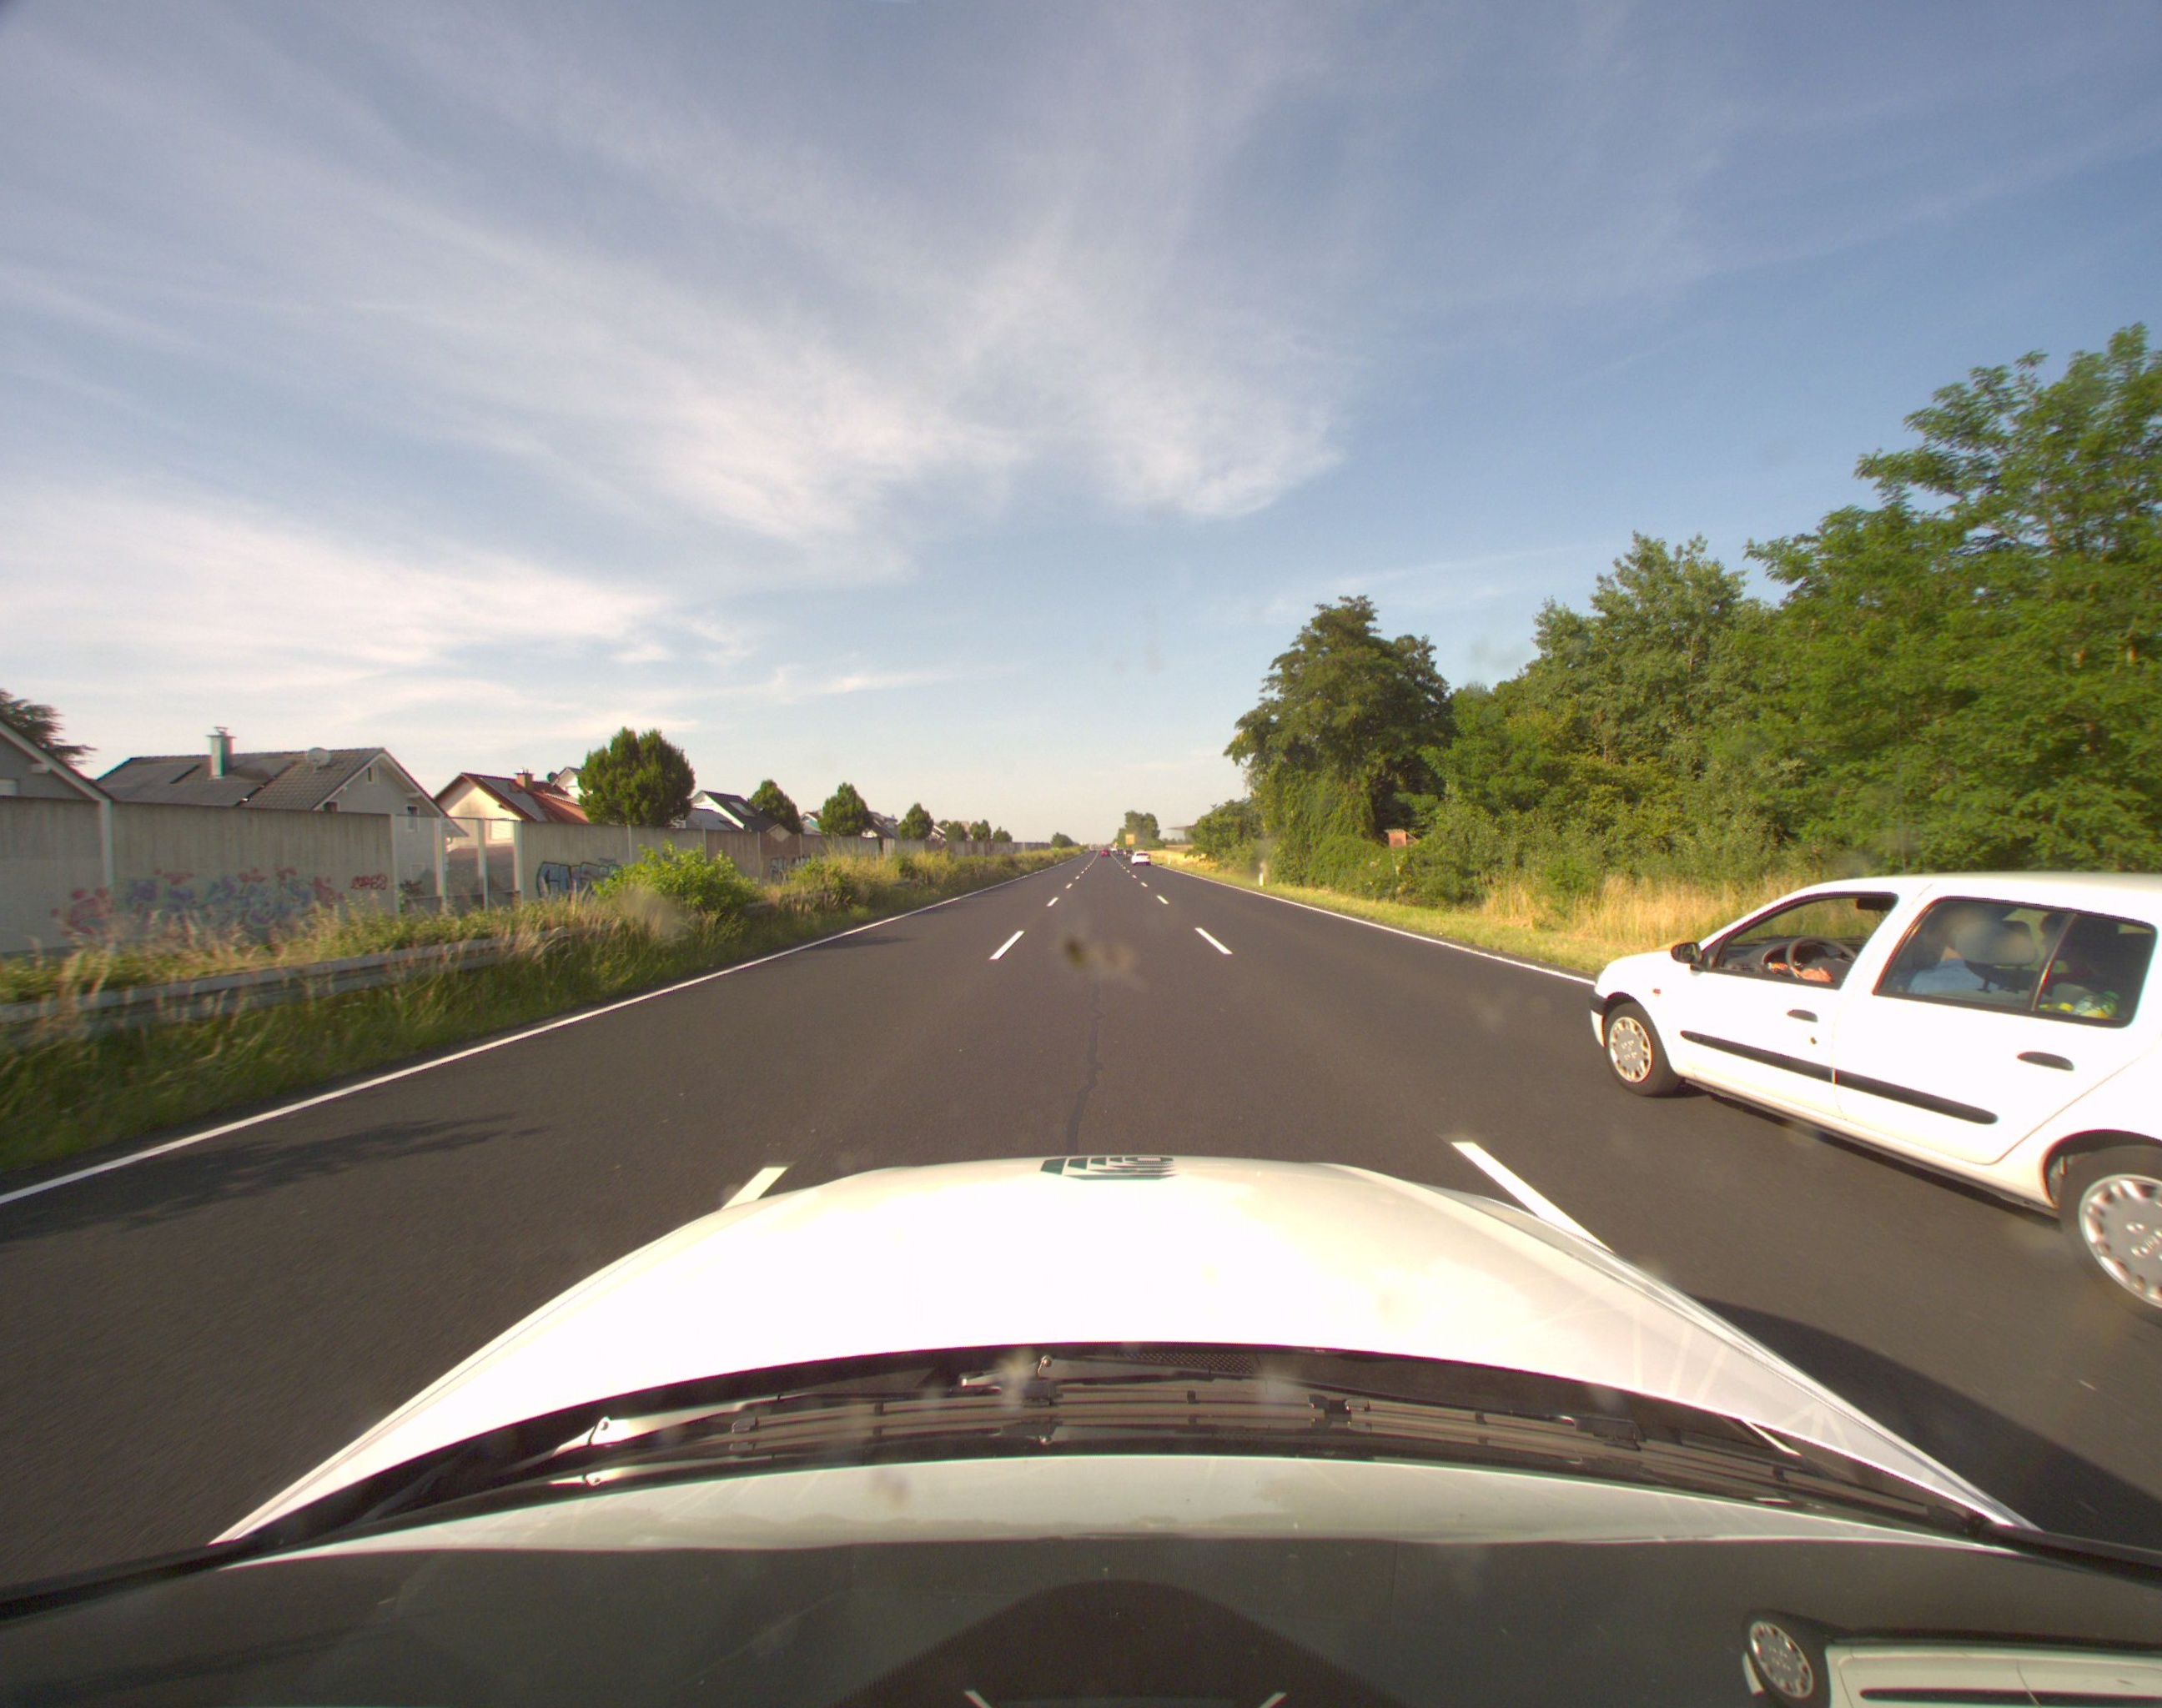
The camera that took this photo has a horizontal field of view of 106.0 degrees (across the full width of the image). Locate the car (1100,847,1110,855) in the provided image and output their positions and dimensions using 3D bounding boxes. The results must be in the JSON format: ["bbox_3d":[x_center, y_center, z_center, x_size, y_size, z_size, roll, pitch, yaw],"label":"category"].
[{"bbox_3d":[4.748,-0.580,160.884,1.806,1.436,3.858,-1,0,1],"label":"car"}]

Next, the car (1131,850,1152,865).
[{"bbox_3d":[6.229,0.410,84.902,1.986,1.516,4.001,-1,0,1],"label":"car"}]

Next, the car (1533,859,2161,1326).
[{"bbox_3d":[4.086,0.730,3.984,1.611,1.387,3.952,0,0,1],"label":"car"}]

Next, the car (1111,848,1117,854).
[{"bbox_3d":[10.391,-0.951,254.063,1.840,1.750,4.002,-1,0,2],"label":"car"}]

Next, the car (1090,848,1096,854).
[{"bbox_3d":[3.844,-0.985,255.630,1.986,1.717,4.001,-1,0,1],"label":"car"}]

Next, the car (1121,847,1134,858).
[{"bbox_3d":[7.315,-0.171,128.864,1.821,1.728,4.001,-1,0,1],"label":"car"}]

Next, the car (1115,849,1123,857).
[{"bbox_3d":[8.329,-0.237,178.120,1.827,1.717,3.864,-1,0,2],"label":"car"}]
